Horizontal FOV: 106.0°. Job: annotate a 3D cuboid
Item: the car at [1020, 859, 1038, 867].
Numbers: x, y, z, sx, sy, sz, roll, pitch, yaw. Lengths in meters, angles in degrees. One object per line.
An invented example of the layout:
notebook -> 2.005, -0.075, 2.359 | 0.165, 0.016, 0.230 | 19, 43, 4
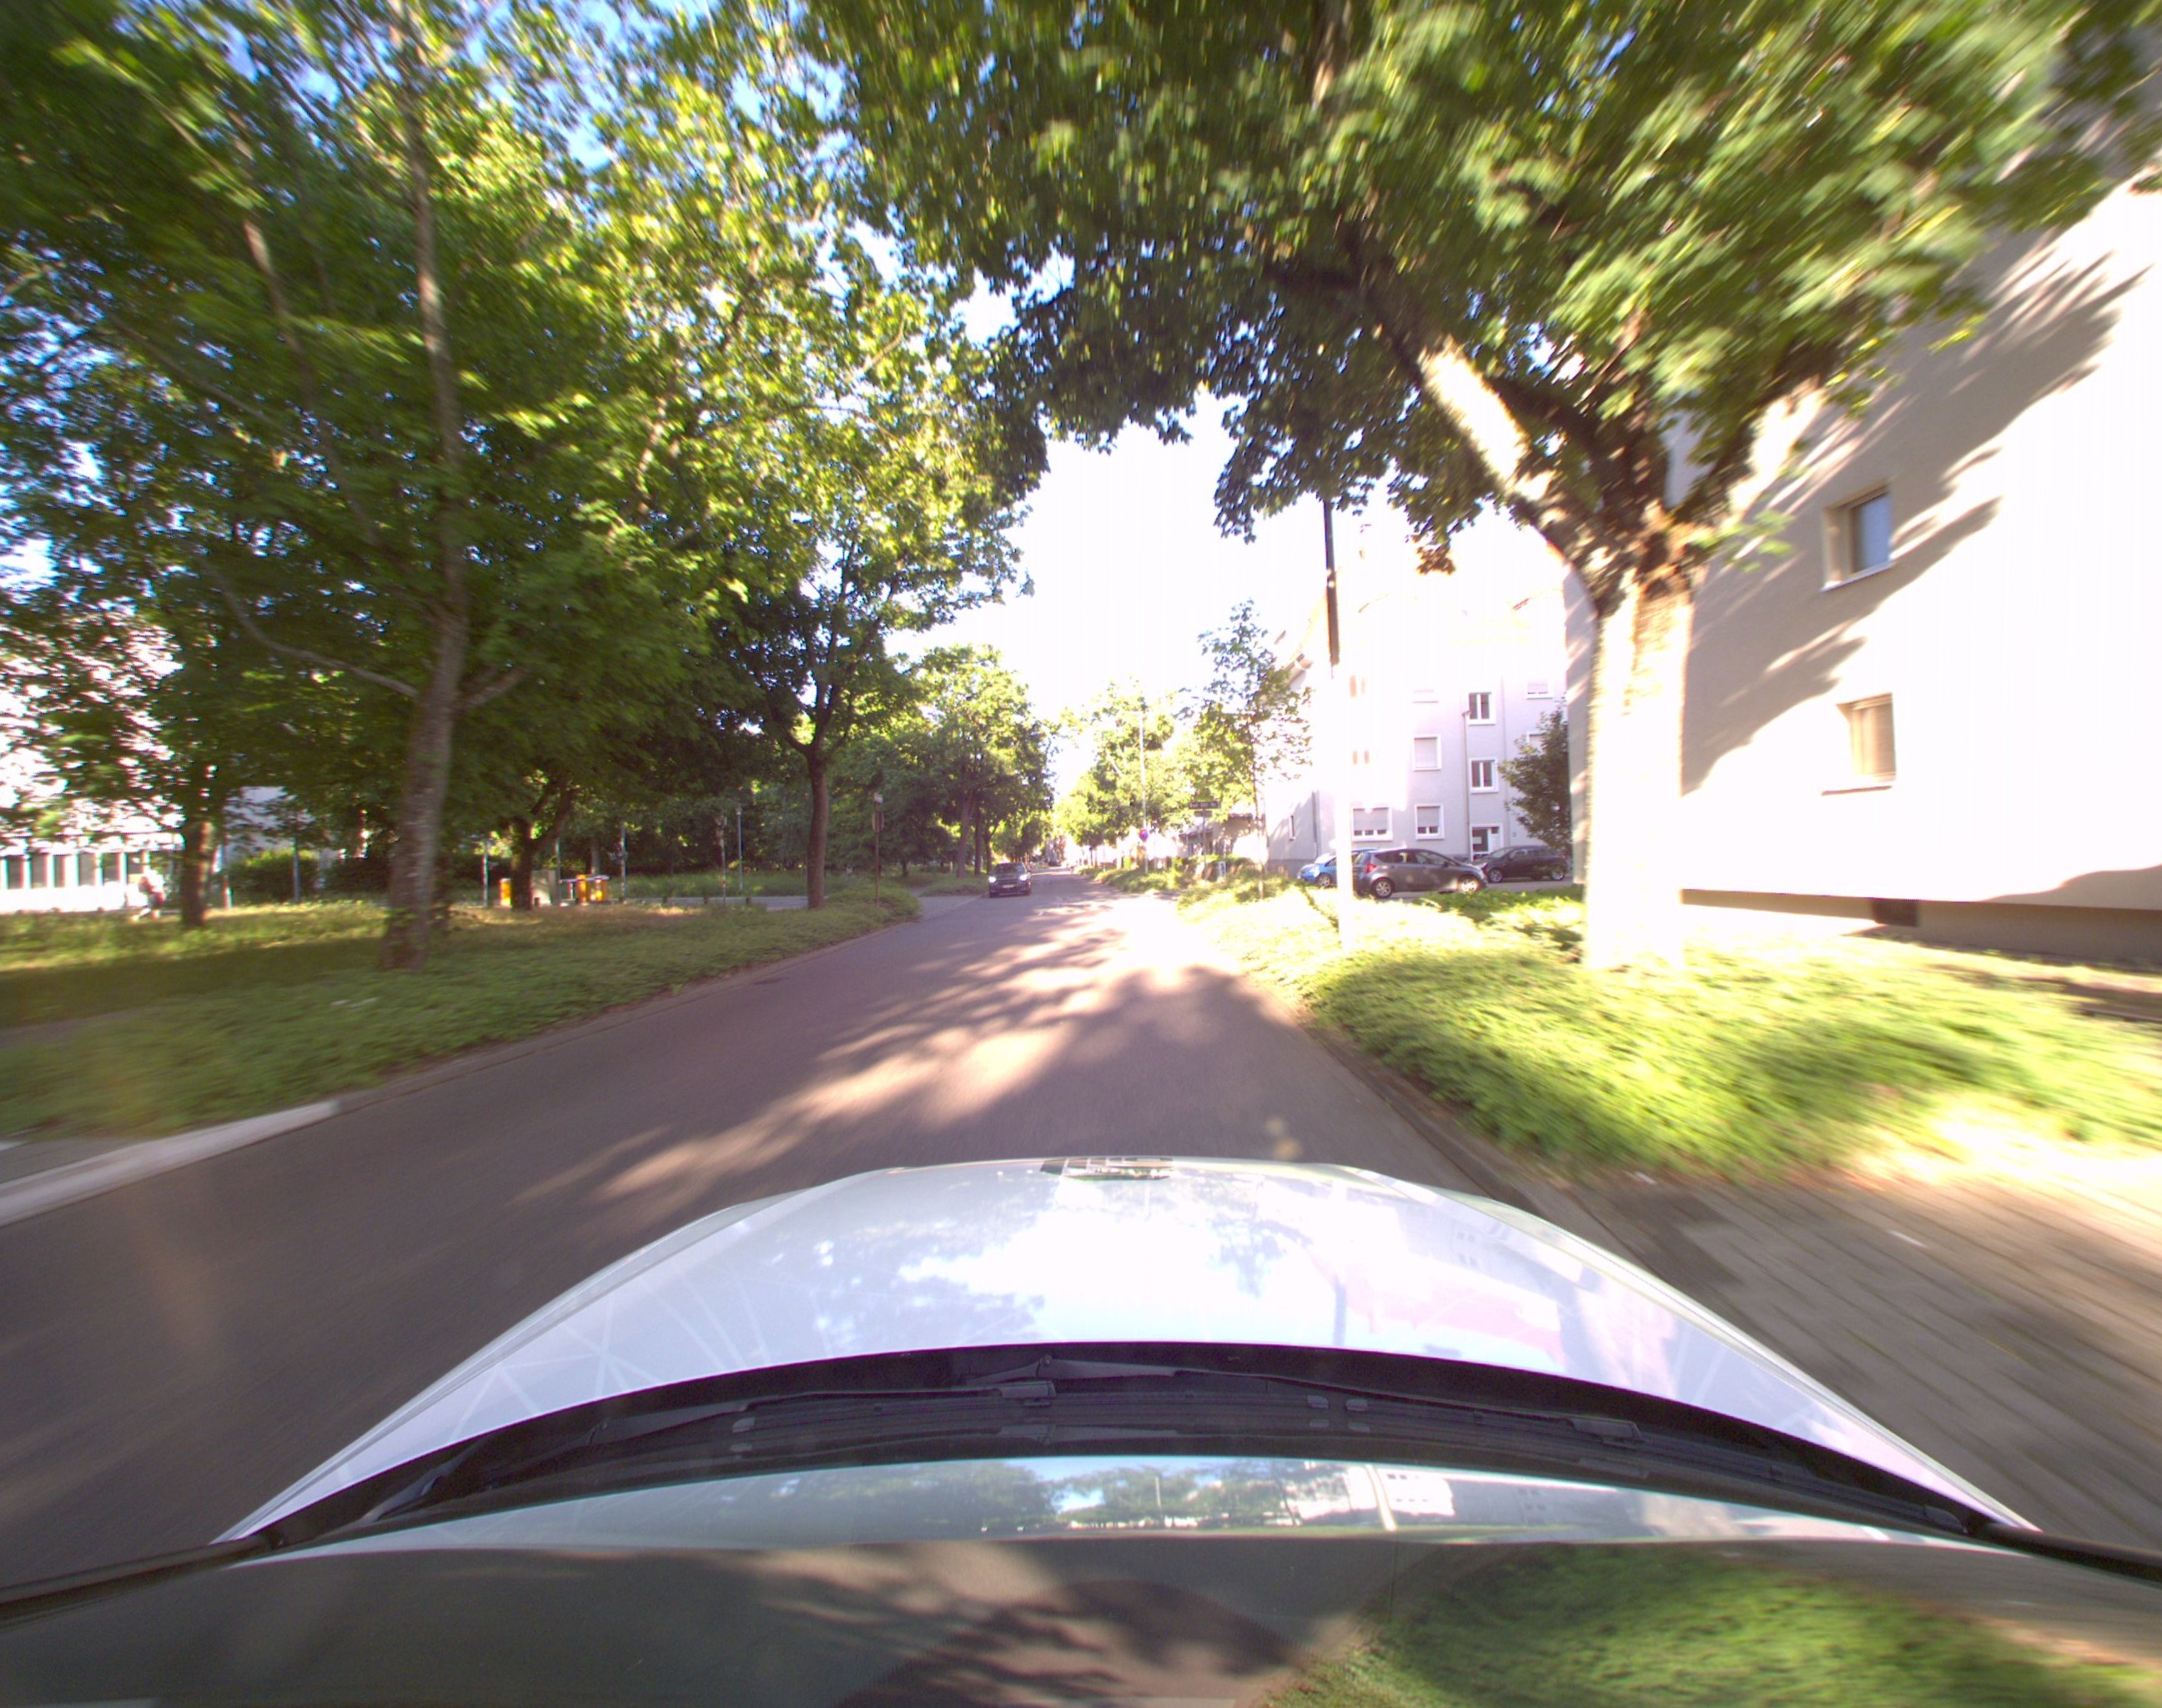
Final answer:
car -> -11.246, 1.931, 176.231 | 3.588, 1.510, 1.495 | 0, -1, -11

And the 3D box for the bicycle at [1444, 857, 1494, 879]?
bicycle -> 16.641, 0.596, 34.926 | 1.958, 0.926, 0.483 | -1, 0, -2

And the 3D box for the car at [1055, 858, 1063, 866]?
car -> -5.273, 1.832, 194.936 | 1.809, 1.925, 3.992 | 0, 0, -6

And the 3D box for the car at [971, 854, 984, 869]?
car -> -18.060, 1.296, 142.130 | 1.994, 2.508, 3.985 | -1, -1, -11

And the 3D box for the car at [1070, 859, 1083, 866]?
car -> -0.939, 1.760, 166.647 | 1.811, 1.501, 3.986 | -2, 0, -10

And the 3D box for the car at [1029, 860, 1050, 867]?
car -> -8.444, 1.901, 164.062 | 3.988, 1.501, 1.811 | 0, 0, -11

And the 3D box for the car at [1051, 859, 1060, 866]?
car -> -6.409, 2.131, 203.016 | 1.809, 1.501, 3.992 | -1, 0, -6

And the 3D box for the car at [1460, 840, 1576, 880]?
car -> 17.656, 0.235, 32.991 | 3.813, 1.498, 1.648 | -1, 0, -1

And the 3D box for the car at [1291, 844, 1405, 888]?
car -> 10.701, 0.444, 32.786 | 3.978, 1.581, 1.808 | -2, 1, -3

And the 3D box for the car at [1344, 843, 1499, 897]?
car -> 10.383, 0.487, 25.016 | 4.030, 1.514, 1.725 | -1, -2, -2

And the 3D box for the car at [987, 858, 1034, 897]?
car -> -3.237, 1.052, 38.232 | 1.839, 1.578, 4.333 | -3, 0, -1

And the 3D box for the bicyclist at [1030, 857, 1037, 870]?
bicyclist -> -5.903, 1.203, 101.103 | 0.630, 1.555, 1.003 | -3, -1, 2

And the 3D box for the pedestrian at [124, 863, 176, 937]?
pedestrian -> -25.820, 1.273, 22.588 | 0.754, 2.014, 0.590 | -1, -1, -2

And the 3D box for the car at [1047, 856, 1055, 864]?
car -> -8.026, 1.673, 219.692 | 1.809, 2.050, 3.992 | 0, 0, -6

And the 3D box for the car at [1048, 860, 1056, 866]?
car -> -7.509, 2.216, 209.497 | 1.809, 1.501, 3.992 | -1, 0, -6

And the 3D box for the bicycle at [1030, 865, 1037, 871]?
bicycle -> -5.866, 1.705, 101.123 | 0.636, 0.742, 2.127 | -3, 0, 2
